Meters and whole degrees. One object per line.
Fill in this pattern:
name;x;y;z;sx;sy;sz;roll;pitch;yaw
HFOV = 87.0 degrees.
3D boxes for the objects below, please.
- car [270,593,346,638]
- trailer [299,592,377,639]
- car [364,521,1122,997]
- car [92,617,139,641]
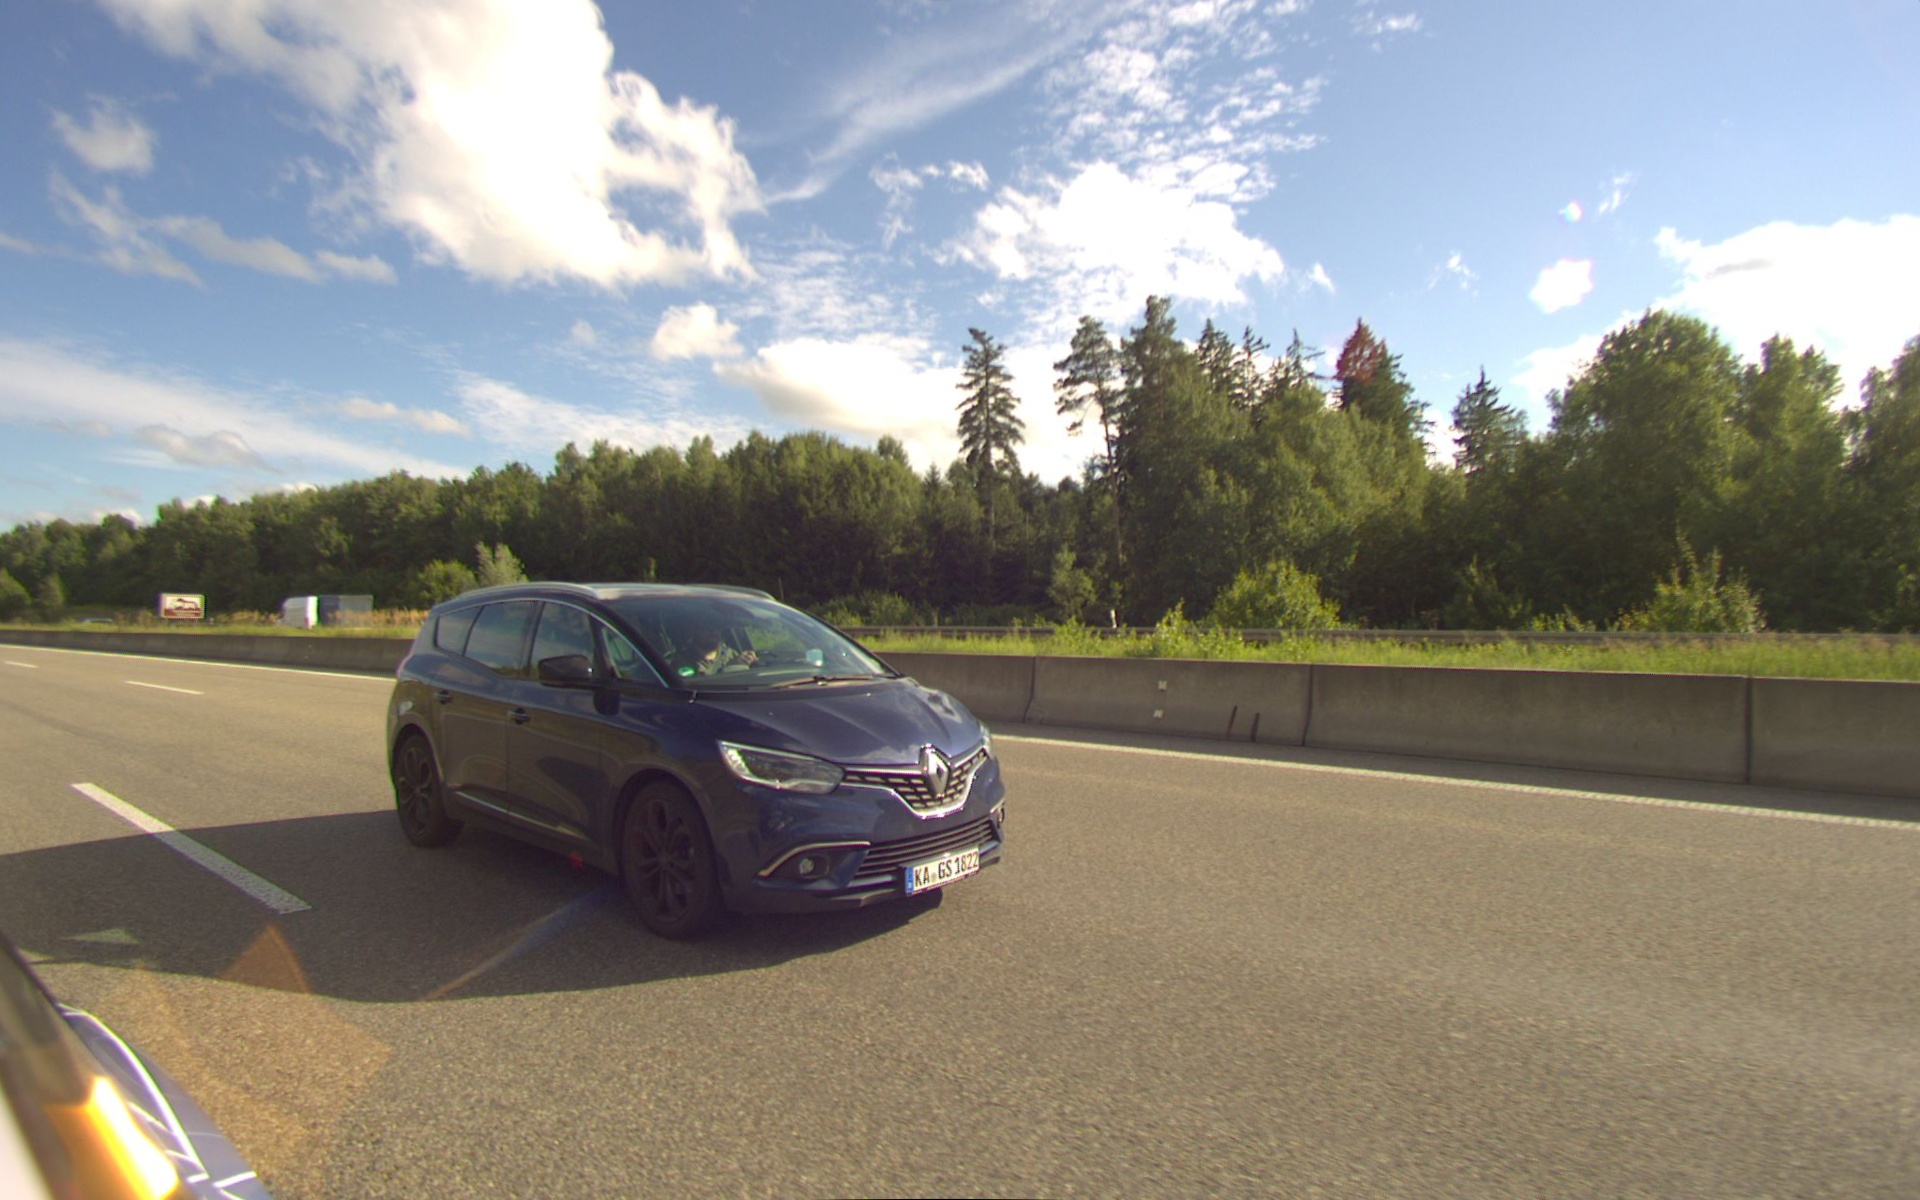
car;-41.082;0.993;63.702;5.882;2.704;2.247;-1;0;39
trailer;-37.312;0.908;60.641;5.556;2.704;2.247;-1;0;39
car;-1.533;0.607;5.894;4.526;1.719;1.973;-1;-1;40
car;-58.013;1.987;69.500;3.571;1.518;1.870;-1;-1;40
